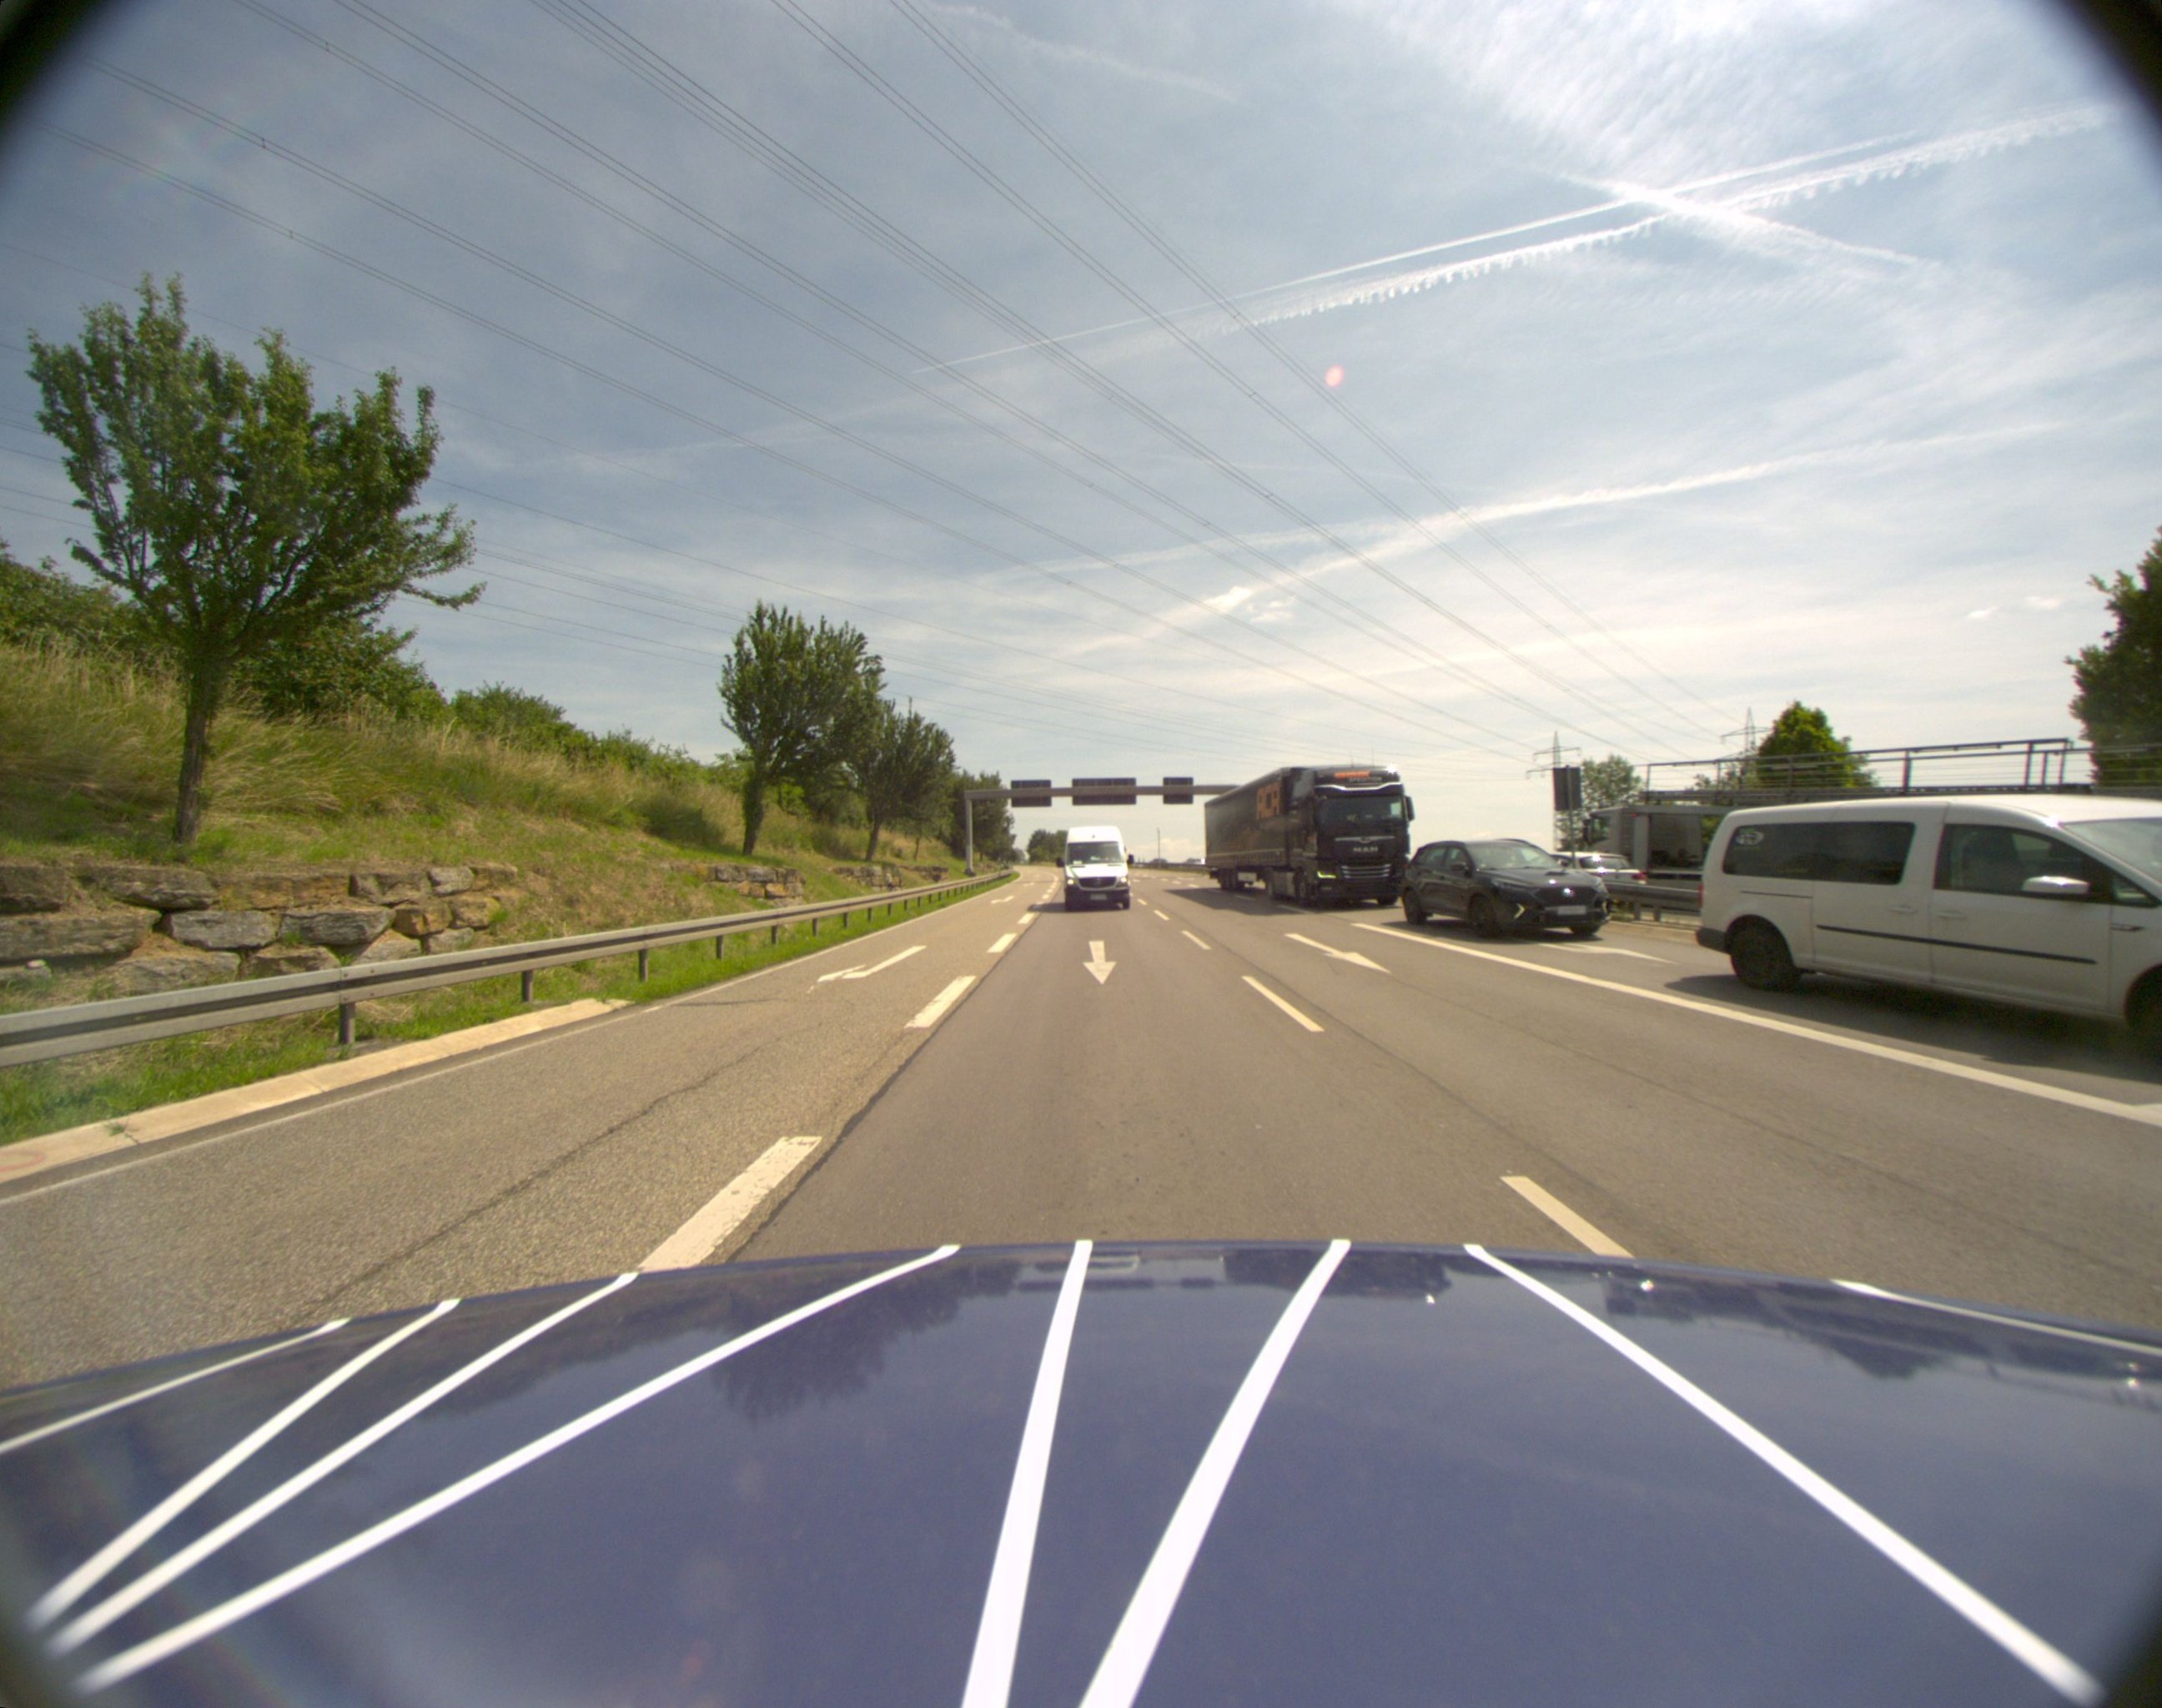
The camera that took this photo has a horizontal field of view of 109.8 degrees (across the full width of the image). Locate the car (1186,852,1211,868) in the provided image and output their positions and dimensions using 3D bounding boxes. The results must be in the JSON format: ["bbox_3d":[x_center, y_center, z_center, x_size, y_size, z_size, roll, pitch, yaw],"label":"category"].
[{"bbox_3d":[11.834,0.571,76.599,1.740,1.495,4.323,1,0,-2],"label":"car"}]

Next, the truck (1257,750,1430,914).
[{"bbox_3d":[7.267,-0.560,22.011,2.790,3.990,5.970,-2,0,0],"label":"truck"}]

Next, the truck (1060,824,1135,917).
[{"bbox_3d":[0.482,0.446,23.643,1.998,2.518,5.105,-2,0,0],"label":"truck"}]

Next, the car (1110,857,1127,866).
[{"bbox_3d":[5.989,1.196,121.401,1.742,1.434,4.320,1,0,-12],"label":"car"}]

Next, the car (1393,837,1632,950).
[{"bbox_3d":[7.439,0.596,13.706,1.860,1.648,4.348,-2,0,1],"label":"car"}]

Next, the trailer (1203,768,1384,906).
[{"bbox_3d":[7.231,-0.504,28.807,2.790,3.890,13.785,-2,0,0],"label":"trailer"}]

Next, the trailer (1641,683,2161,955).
[{"bbox_3d":[16.184,-0.496,10.508,2.645,3.741,19.798,-1,1,1],"label":"trailer"}]

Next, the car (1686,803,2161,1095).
[{"bbox_3d":[7.479,0.549,5.888,1.772,1.788,4.752,-2,0,0],"label":"car"}]

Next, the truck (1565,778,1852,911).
[{"bbox_3d":[16.254,-0.248,20.367,2.806,2.996,5.989,-1,1,1],"label":"truck"}]

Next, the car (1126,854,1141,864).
[{"bbox_3d":[8.514,0.798,123.619,1.519,1.472,3.700,1,0,-12],"label":"car"}]

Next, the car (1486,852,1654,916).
[{"bbox_3d":[12.361,0.686,19.556,1.776,1.425,4.000,-1,1,1],"label":"car"}]
